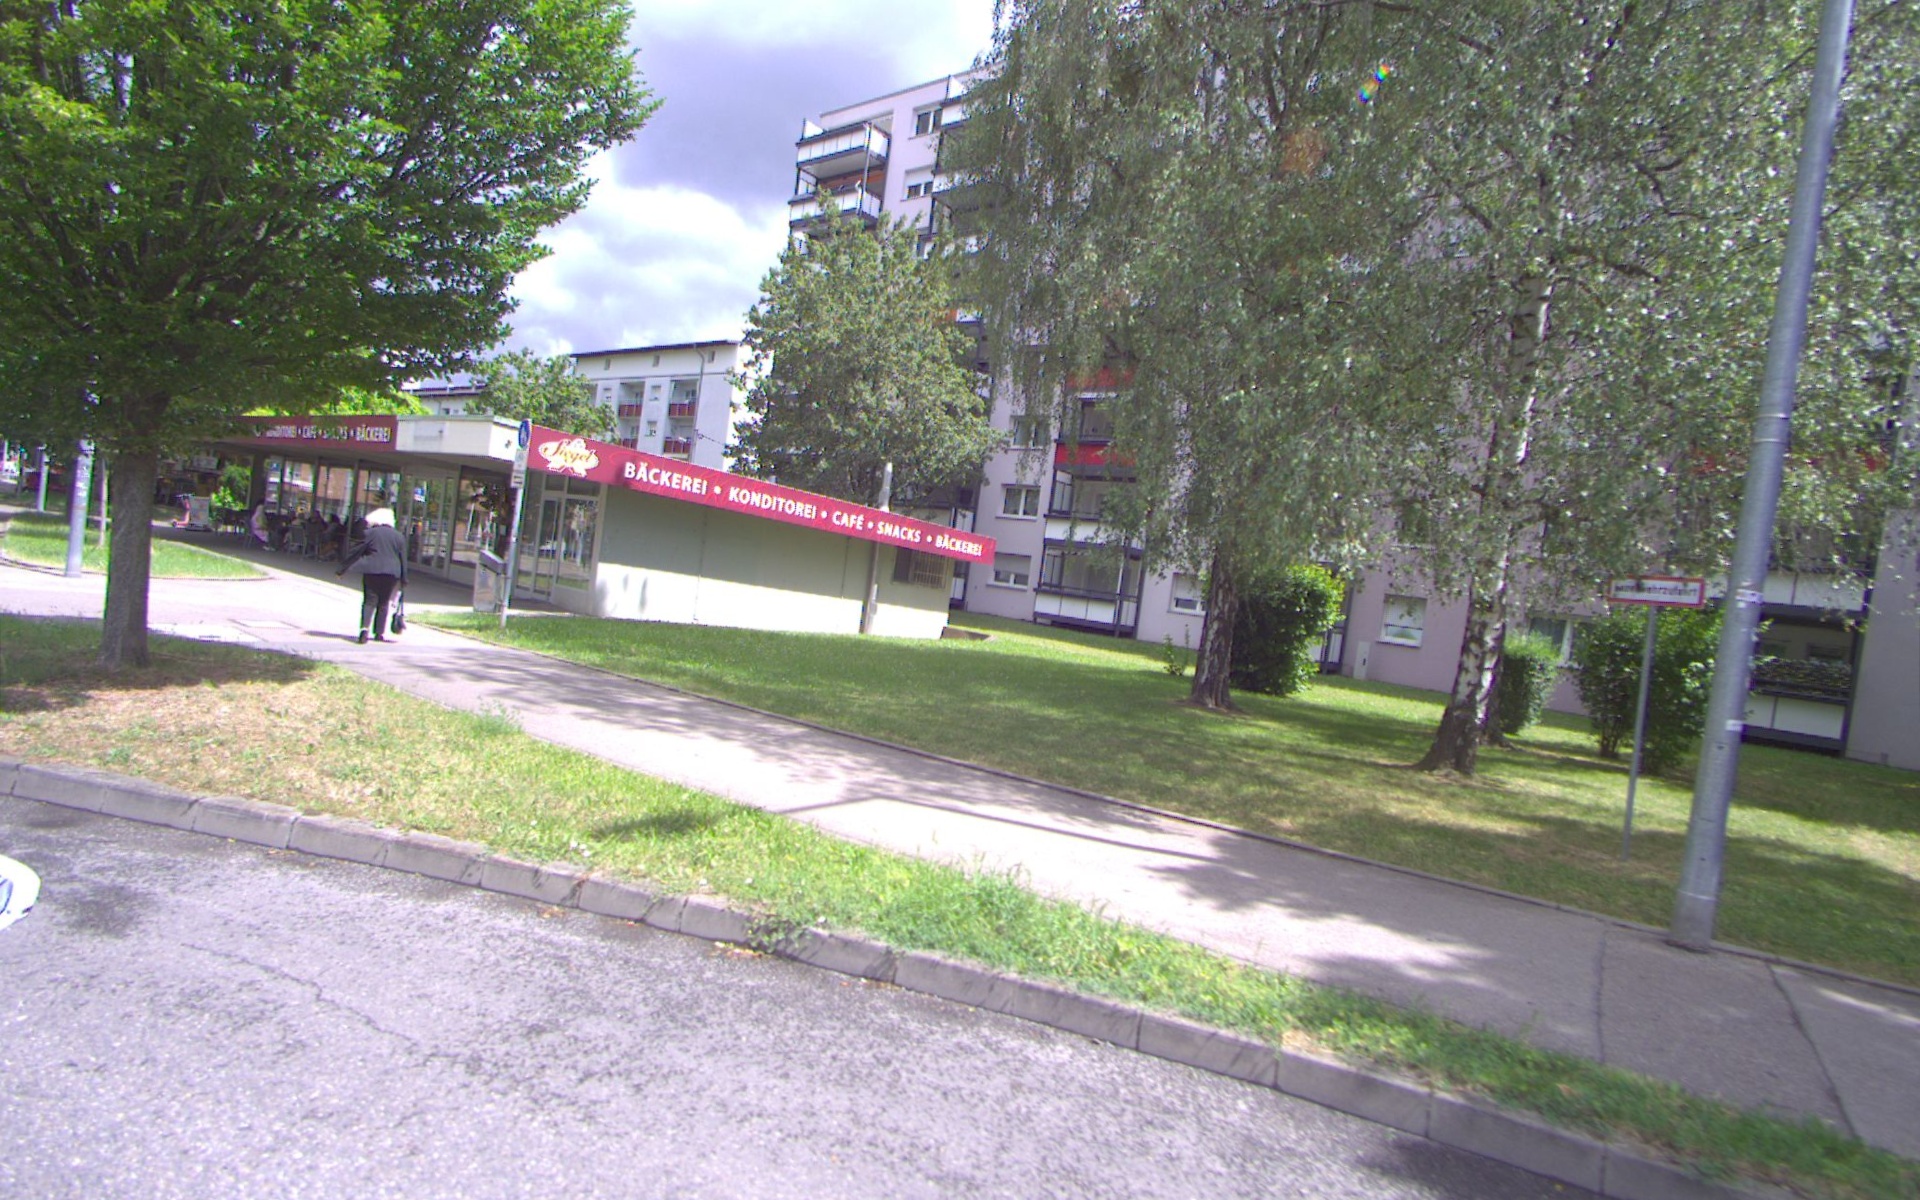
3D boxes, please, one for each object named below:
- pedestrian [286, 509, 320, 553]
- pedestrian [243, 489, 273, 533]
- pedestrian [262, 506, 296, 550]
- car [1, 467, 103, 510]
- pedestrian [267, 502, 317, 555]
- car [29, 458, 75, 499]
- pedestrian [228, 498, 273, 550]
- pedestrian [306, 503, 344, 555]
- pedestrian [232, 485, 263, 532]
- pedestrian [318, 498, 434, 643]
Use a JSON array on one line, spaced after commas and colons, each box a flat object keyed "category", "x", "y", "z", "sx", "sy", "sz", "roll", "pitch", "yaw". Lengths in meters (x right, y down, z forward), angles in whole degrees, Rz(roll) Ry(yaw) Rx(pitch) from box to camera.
[{"category": "pedestrian", "x": -19.716, "y": -2.064, "z": 30.196, "sx": 0.714, "sy": 1.216, "sz": 0.691, "roll": 6, "pitch": 2, "yaw": -37}, {"category": "pedestrian", "x": -25.635, "y": -3.239, "z": 36.732, "sx": 0.550, "sy": 1.507, "sz": 0.695, "roll": 8, "pitch": 2, "yaw": 43}, {"category": "pedestrian", "x": -20.249, "y": -2.141, "z": 29.903, "sx": 0.714, "sy": 1.216, "sz": 0.691, "roll": 6, "pitch": 2, "yaw": -37}, {"category": "car", "x": -50.323, "y": -6.194, "z": 55.870, "sx": 3.970, "sy": 1.530, "sz": 1.977, "roll": 9, "pitch": 3, "yaw": -39}, {"category": "pedestrian", "x": -19.110, "y": -2.041, "z": 28.769, "sx": 0.810, "sy": 1.342, "sz": 0.876, "roll": 12, "pitch": 4, "yaw": 39}, {"category": "car", "x": -75.024, "y": -9.997, "z": 83.153, "sx": 1.986, "sy": 2.859, "sz": 5.060, "roll": 11, "pitch": -1, "yaw": -37}, {"category": "pedestrian", "x": -20.292, "y": -2.178, "z": 28.773, "sx": 0.874, "sy": 1.342, "sz": 0.603, "roll": 6, "pitch": 2, "yaw": -42}, {"category": "pedestrian", "x": -18.600, "y": -2.081, "z": 29.461, "sx": 0.715, "sy": 1.398, "sz": 0.690, "roll": 5, "pitch": 2, "yaw": -44}, {"category": "pedestrian", "x": -26.168, "y": -3.363, "z": 36.947, "sx": 0.550, "sy": 1.593, "sz": 0.695, "roll": 8, "pitch": 2, "yaw": 43}, {"category": "pedestrian", "x": -6.785, "y": -0.343, "z": 11.688, "sx": 0.869, "sy": 1.538, "sz": 0.794, "roll": 7, "pitch": 0, "yaw": -44}]
